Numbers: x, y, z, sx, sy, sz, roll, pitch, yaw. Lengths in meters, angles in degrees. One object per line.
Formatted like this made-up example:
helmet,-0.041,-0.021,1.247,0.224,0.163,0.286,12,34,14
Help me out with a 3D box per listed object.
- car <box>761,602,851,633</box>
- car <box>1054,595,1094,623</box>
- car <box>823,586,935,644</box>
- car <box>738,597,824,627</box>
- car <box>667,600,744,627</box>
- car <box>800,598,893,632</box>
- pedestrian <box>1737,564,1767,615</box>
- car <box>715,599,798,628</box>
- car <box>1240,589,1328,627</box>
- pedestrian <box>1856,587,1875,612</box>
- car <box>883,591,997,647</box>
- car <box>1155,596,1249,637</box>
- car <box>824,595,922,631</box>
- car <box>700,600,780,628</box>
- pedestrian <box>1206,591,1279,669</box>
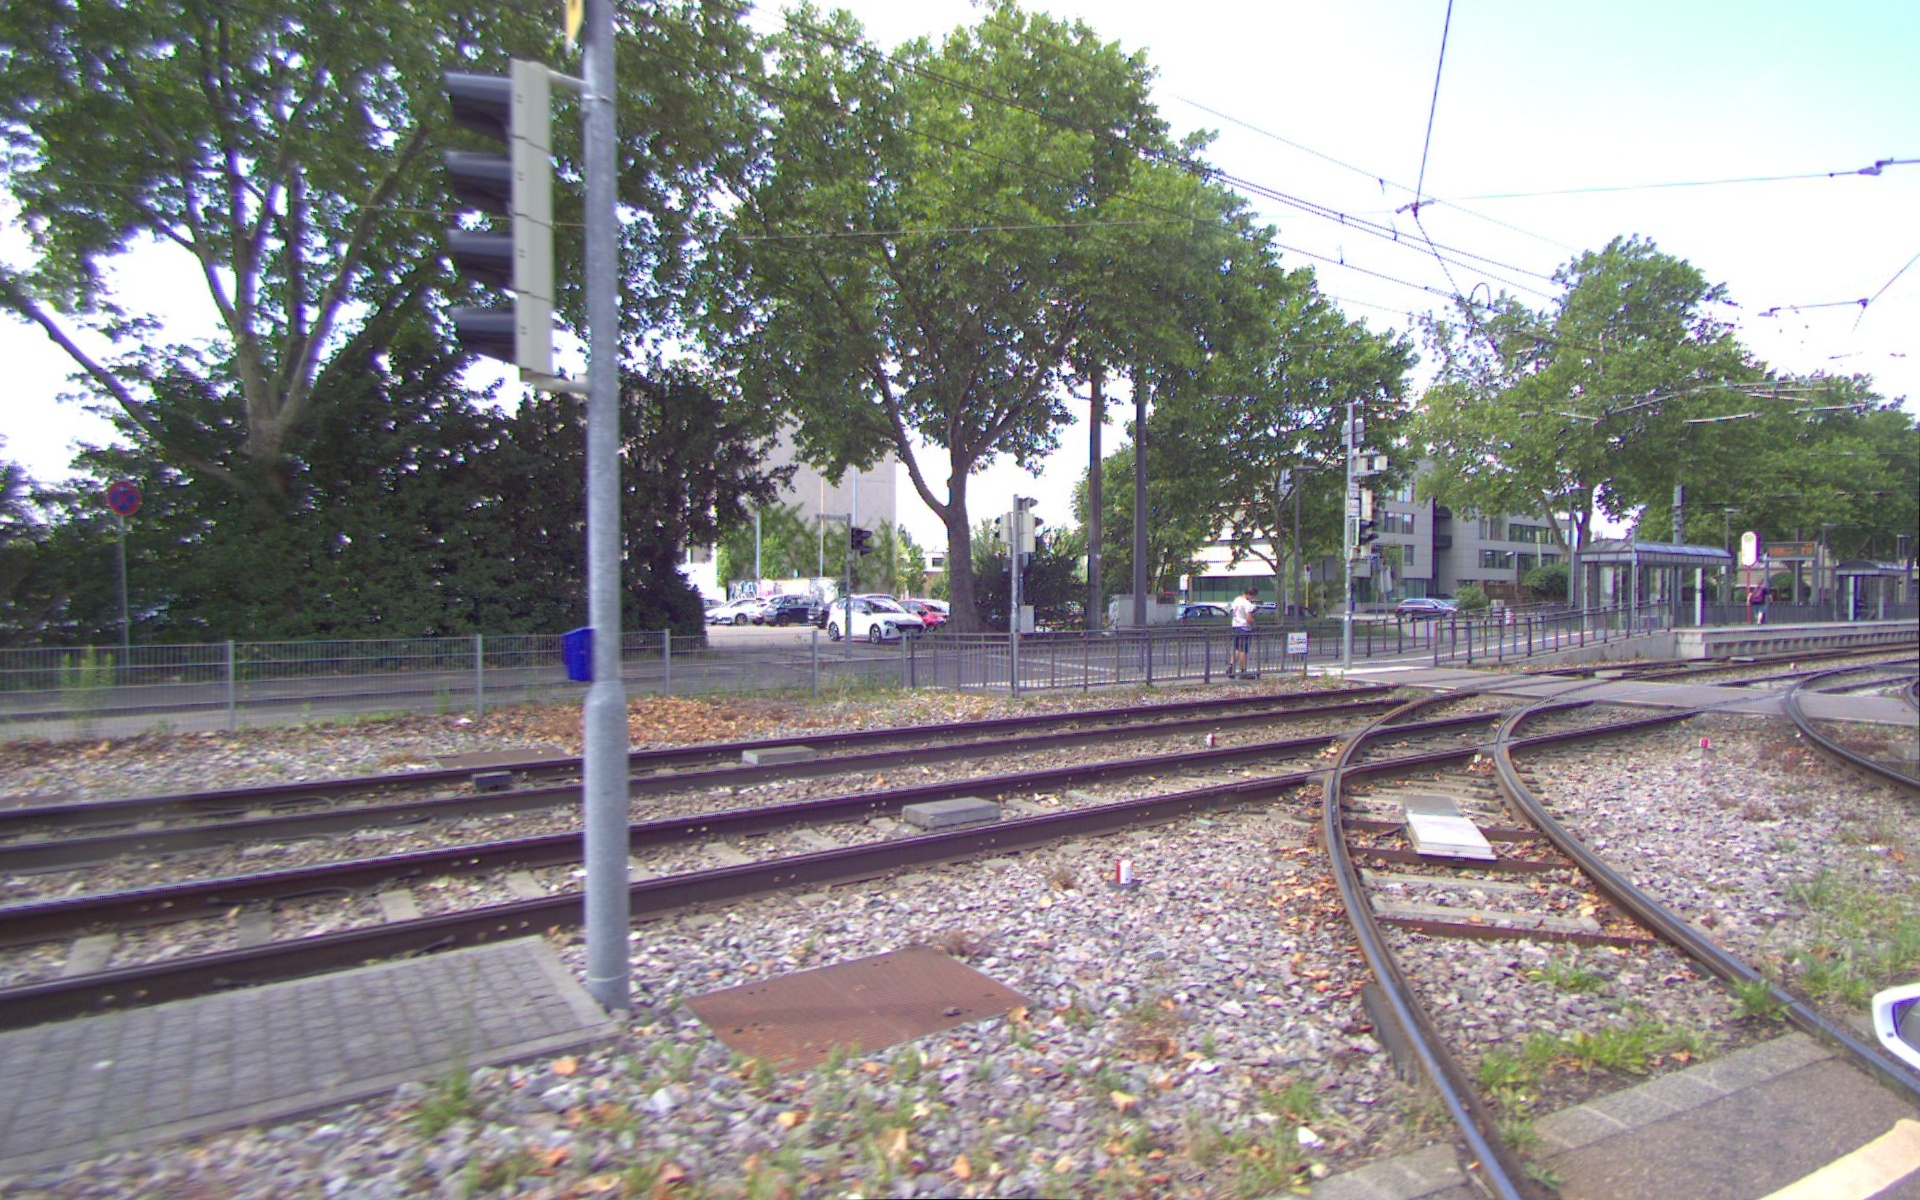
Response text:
car,-7.699,0.875,50.366,4.068,1.502,1.867,0,-2,-37
car,8.727,0.739,77.312,1.963,2.040,4.434,-1,-1,-8
car,-2.703,0.474,32.892,1.788,1.773,3.956,-1,0,-38
car,-9.391,0.636,52.711,4.068,1.502,1.867,0,-2,-37
car,-15.218,0.807,60.051,4.068,1.502,1.867,0,-2,-37
car,-5.237,0.654,46.502,3.962,1.495,1.785,0,0,-37
pedestrian,29.636,-0.396,37.570,0.856,1.870,0.701,-1,1,-37
car,-11.110,0.730,54.901,4.068,1.502,1.867,0,-2,-37
car,13.884,0.322,42.967,3.613,1.555,1.681,-1,0,-33
pedestrian,46.010,-0.025,51.022,0.760,1.286,0.549,0,1,-34
car,-0.725,0.607,33.748,1.788,1.773,3.956,-1,0,-38
car,9.763,0.631,40.485,3.613,1.555,1.681,-1,0,-33
car,-3.800,0.554,44.064,3.962,1.495,1.785,0,0,-37
car,-12.424,0.797,56.832,4.068,1.502,1.867,0,-2,-37
pedestrian,5.104,0.532,18.158,0.855,1.361,0.914,0,-1,-34
